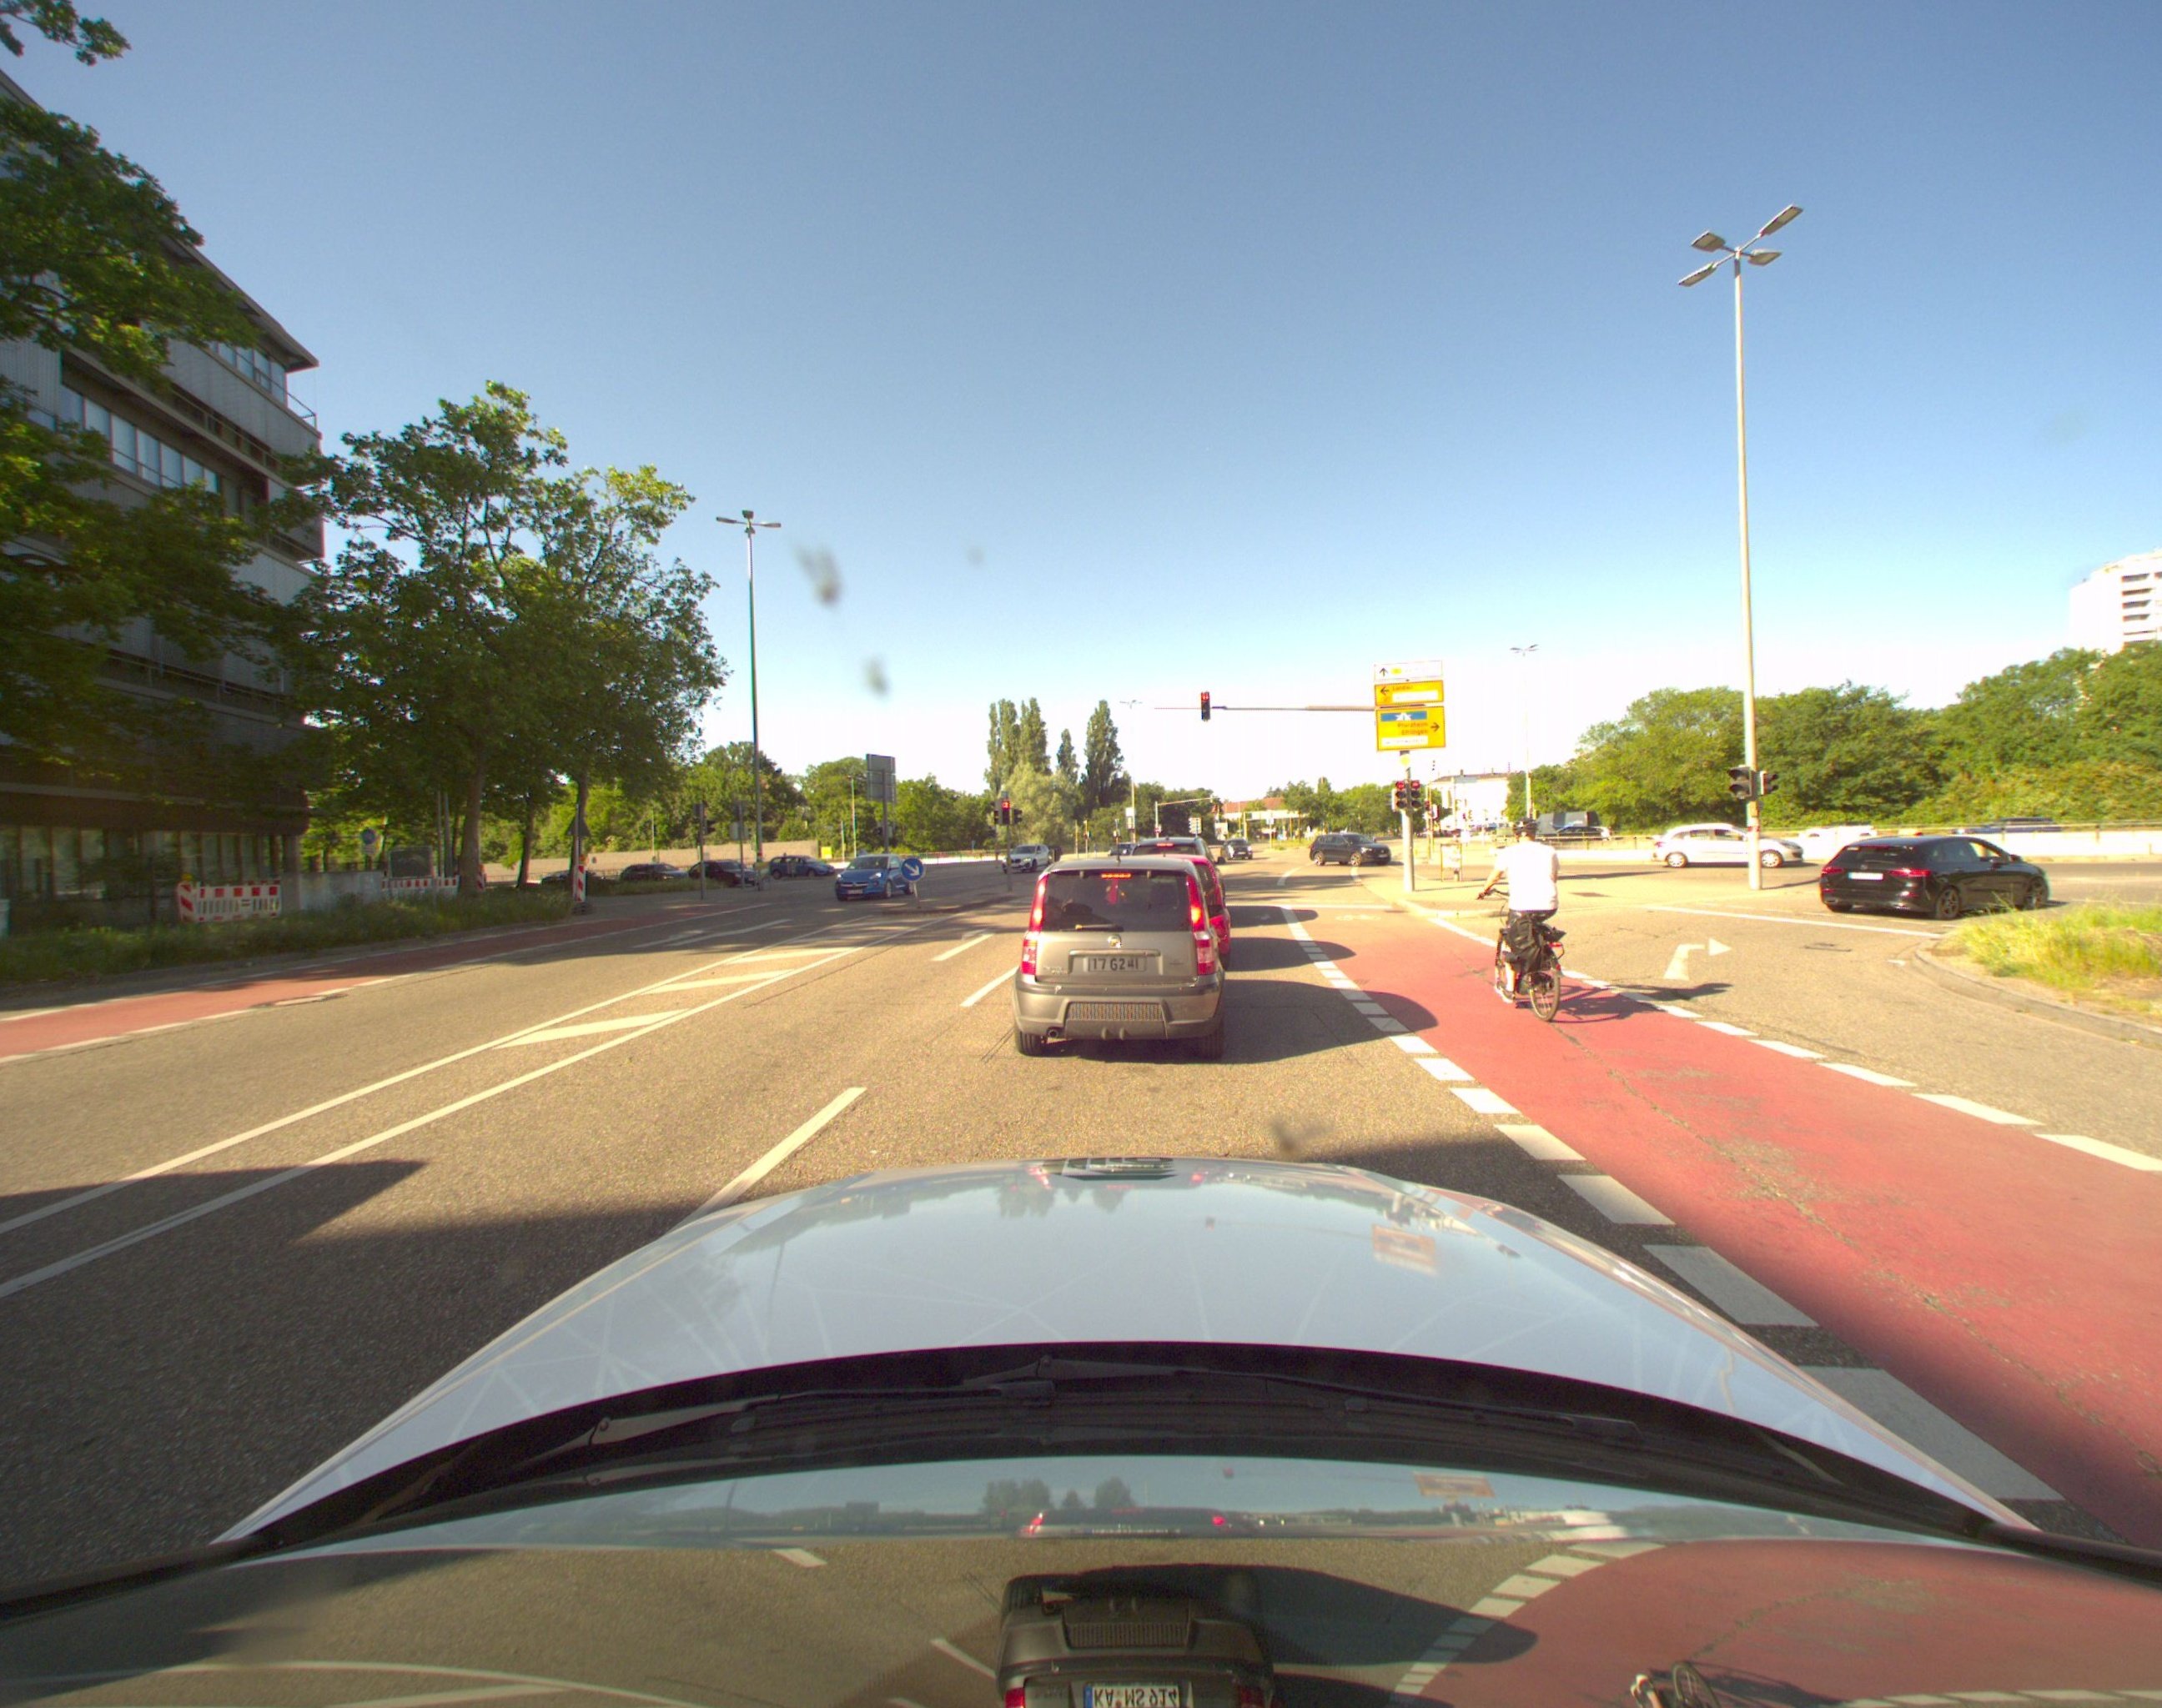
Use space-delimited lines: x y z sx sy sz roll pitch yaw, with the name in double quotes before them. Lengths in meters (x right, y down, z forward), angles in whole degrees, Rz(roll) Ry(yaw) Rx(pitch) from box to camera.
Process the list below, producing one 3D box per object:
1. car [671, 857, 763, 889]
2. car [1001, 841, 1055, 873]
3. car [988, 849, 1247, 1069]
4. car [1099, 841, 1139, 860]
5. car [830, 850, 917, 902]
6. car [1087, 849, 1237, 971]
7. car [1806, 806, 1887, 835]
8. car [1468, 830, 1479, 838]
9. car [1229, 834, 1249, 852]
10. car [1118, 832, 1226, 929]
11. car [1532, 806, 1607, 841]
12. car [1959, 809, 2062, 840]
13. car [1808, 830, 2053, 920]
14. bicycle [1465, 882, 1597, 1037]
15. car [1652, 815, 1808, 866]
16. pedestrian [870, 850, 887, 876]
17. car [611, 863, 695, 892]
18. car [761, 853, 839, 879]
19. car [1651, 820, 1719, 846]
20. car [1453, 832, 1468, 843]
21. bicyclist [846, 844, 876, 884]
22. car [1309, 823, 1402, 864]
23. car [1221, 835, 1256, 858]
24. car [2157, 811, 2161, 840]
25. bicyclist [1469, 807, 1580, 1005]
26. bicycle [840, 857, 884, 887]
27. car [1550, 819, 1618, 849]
"car" -18.968 0.990 42.413 4.396 1.438 1.837 -2 0 25
"car" -3.036 0.146 47.370 1.821 1.653 4.645 -2 1 13
"car" 0.468 0.714 7.718 1.811 1.489 4.007 0 1 6
"car" 3.033 -0.257 64.058 1.670 1.457 3.936 -2 -1 26
"car" -6.946 0.677 27.737 1.815 1.503 4.449 -2 1 -1
"car" 1.237 0.688 11.981 1.810 1.479 4.008 -1 0 7
"car" 52.655 -2.272 56.101 3.949 1.684 1.868 -2 -2 41
"car" 87.475 -4.431 181.551 1.974 1.640 4.025 -2 0 30
"car" 14.564 -1.005 74.846 1.739 1.493 4.364 -1 2 12
"car" 2.072 0.455 17.407 1.856 1.790 4.429 0 1 12
"car" 41.250 -2.506 68.859 2.270 2.607 4.835 0 -2 -33
"car" 58.683 -1.818 51.523 3.948 1.662 2.012 -2 -2 38
"car" 16.697 0.334 16.042 3.996 1.493 1.747 -2 2 -17
"bicycle" 4.137 0.874 7.673 0.792 1.110 2.415 0 0 22
"car" 22.574 -0.436 28.402 4.052 1.582 1.837 -2 1 44
"pedestrian" -12.251 0.552 49.338 0.684 1.538 1.366 -1 -3 1
"car" -24.231 1.326 46.051 4.396 1.438 1.837 -2 0 25
"car" -18.043 0.782 52.325 4.403 1.438 1.833 -2 0 15
"car" 46.168 -1.540 62.271 3.949 1.750 2.012 -2 -2 41
"car" 68.394 -3.002 146.761 1.974 1.794 4.025 -2 -2 32
"bicyclist" -9.878 0.422 36.591 0.681 1.701 1.204 -2 2 18
"car" 13.712 -0.476 40.982 2.003 1.836 4.325 0 -2 -24
"car" 10.851 -0.482 56.272 1.984 1.453 4.005 -1 -2 5
"car" 65.056 -1.766 46.510 3.948 1.662 2.012 -2 -2 41
"bicyclist" 4.128 0.444 7.666 0.792 1.705 1.091 0 0 22
"bicycle" -9.828 0.785 36.692 0.681 1.202 2.339 -2 2 19
"car" 37.331 -1.450 60.446 3.949 2.014 2.012 -2 -2 41
